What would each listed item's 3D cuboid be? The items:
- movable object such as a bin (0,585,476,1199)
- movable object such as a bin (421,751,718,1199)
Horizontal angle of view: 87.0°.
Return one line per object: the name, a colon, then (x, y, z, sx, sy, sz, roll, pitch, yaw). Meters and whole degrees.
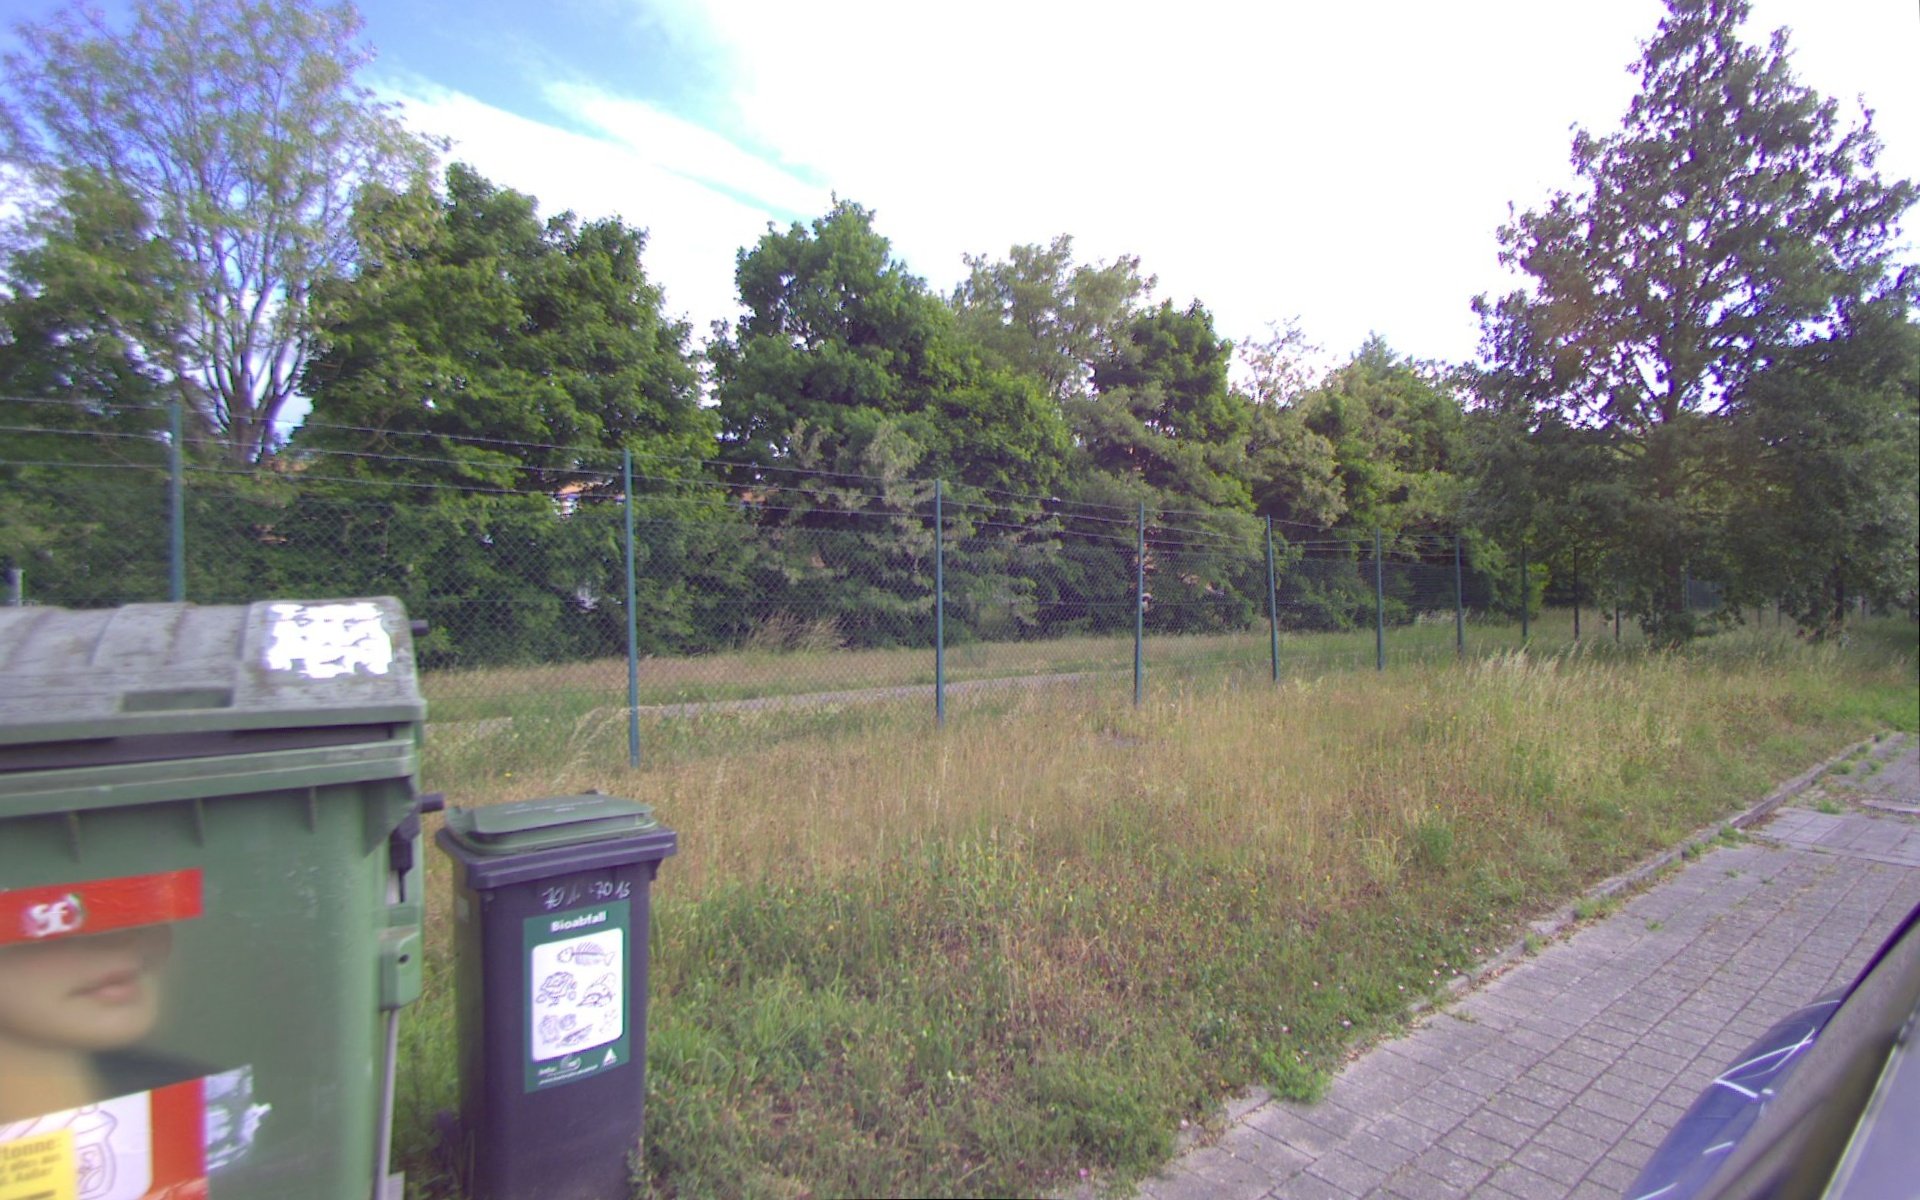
movable object such as a bin: (-1.689, 0.690, 1.856, 1.330, 1.413, 1.133, -1, 1, -32)
movable object such as a bin: (-0.977, 0.880, 2.497, 0.574, 0.876, 0.602, -1, 1, -32)
